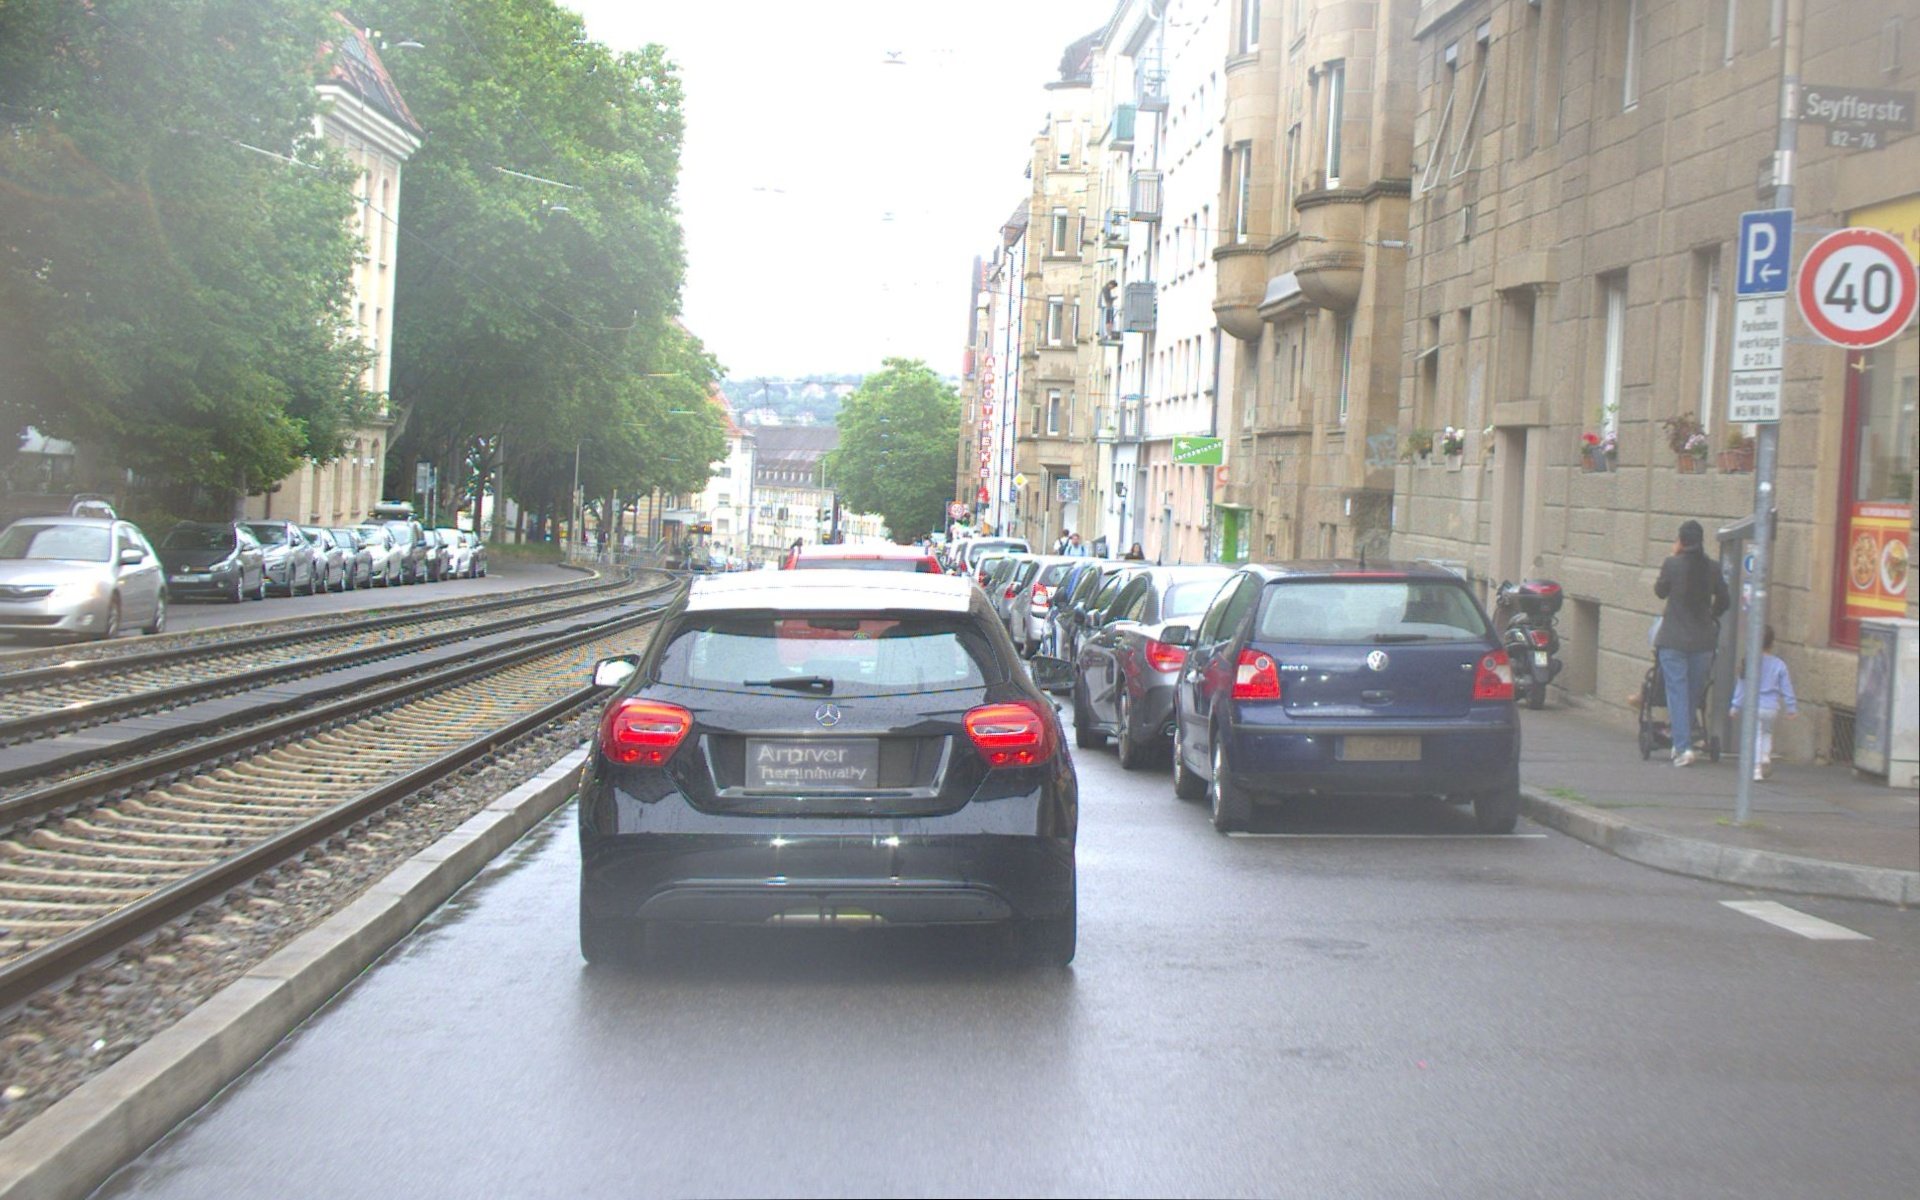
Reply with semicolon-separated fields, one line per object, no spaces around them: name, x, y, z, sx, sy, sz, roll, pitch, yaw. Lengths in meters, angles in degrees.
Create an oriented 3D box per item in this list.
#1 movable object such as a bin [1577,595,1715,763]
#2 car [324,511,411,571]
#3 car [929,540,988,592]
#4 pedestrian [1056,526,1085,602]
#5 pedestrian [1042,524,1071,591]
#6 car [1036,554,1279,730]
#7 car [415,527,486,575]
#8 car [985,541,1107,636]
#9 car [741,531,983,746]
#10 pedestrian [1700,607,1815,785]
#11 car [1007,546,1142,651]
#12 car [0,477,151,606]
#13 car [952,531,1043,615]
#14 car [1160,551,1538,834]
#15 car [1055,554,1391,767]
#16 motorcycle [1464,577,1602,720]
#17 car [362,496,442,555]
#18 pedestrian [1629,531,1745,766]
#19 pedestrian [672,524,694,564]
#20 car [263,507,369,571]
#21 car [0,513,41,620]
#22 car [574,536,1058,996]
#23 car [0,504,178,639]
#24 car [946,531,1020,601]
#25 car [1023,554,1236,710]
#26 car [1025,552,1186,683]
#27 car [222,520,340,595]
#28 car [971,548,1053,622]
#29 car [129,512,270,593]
movable object such as a bin;4.787;0.537;24.034;0.665;1.099;1.124;2;1;-2
car;-14.343;-1.438;83.367;1.539;1.409;3.953;0;1;-2
car;-0.064;-1.067;106.256;1.693;1.524;4.000;2;1;-1
pedestrian;2.561;-0.833;79.808;0.607;1.757;0.688;0;1;-2
pedestrian;2.660;-1.169;94.680;0.746;1.827;1.039;0;1;0
car;1.685;0.321;30.572;1.706;1.393;4.019;2;1;-3
car;-14.916;-1.444;100.818;1.500;1.386;3.987;0;1;0
car;1.345;-0.207;55.084;1.667;1.429;3.957;1;1;-2
car;-0.786;0.260;28.099;1.785;1.575;4.000;2;1;-1
pedestrian;4.879;0.580;21.050;0.510;1.046;0.627;2;1;-1
car;1.620;-0.046;49.689;1.590;1.429;3.685;1;1;-3
car;-13.647;-0.898;51.959;1.800;1.840;4.819;1;1;-1
car;0.798;-0.622;75.958;1.790;1.759;4.212;1;1;-2
car;2.124;0.450;19.676;1.671;1.439;3.790;0;1;-1
car;1.807;0.372;25.020;1.754;1.382;4.486;0;1;-5
motorcycle;5.196;0.411;31.358;0.705;1.194;2.746;2;1;-1
car;-14.565;-1.949;89.871;1.539;1.500;4.155;0;1;-2
pedestrian;4.867;0.315;23.049;0.561;1.530;0.710;2;1;-1
pedestrian;-11.435;-2.300;141.996;0.806;1.628;0.892;0;1;-1
car;-14.535;-1.385;77.801;1.754;1.409;4.154;0;1;-2
car;-13.463;-0.454;45.177;1.762;1.393;4.270;1;1;-2
car;-0.538;0.529;13.355;1.580;1.499;3.575;2;1;-2
car;-10.380;-0.357;39.453;1.981;1.452;4.295;1;1;-2
car;0.604;-0.909;90.728;1.828;1.744;4.467;2;1;0
car;1.706;0.290;35.860;1.787;1.457;4.084;2;1;-3
car;1.663;0.174;40.200;1.543;1.410;3.447;2;1;-3
car;-14.372;-0.911;72.973;1.754;1.531;4.543;0;1;-2
car;1.063;-0.325;71.548;1.570;1.457;3.600;1;1;-1
car;-14.132;-0.901;64.139;1.849;1.459;4.551;0;1;-3
